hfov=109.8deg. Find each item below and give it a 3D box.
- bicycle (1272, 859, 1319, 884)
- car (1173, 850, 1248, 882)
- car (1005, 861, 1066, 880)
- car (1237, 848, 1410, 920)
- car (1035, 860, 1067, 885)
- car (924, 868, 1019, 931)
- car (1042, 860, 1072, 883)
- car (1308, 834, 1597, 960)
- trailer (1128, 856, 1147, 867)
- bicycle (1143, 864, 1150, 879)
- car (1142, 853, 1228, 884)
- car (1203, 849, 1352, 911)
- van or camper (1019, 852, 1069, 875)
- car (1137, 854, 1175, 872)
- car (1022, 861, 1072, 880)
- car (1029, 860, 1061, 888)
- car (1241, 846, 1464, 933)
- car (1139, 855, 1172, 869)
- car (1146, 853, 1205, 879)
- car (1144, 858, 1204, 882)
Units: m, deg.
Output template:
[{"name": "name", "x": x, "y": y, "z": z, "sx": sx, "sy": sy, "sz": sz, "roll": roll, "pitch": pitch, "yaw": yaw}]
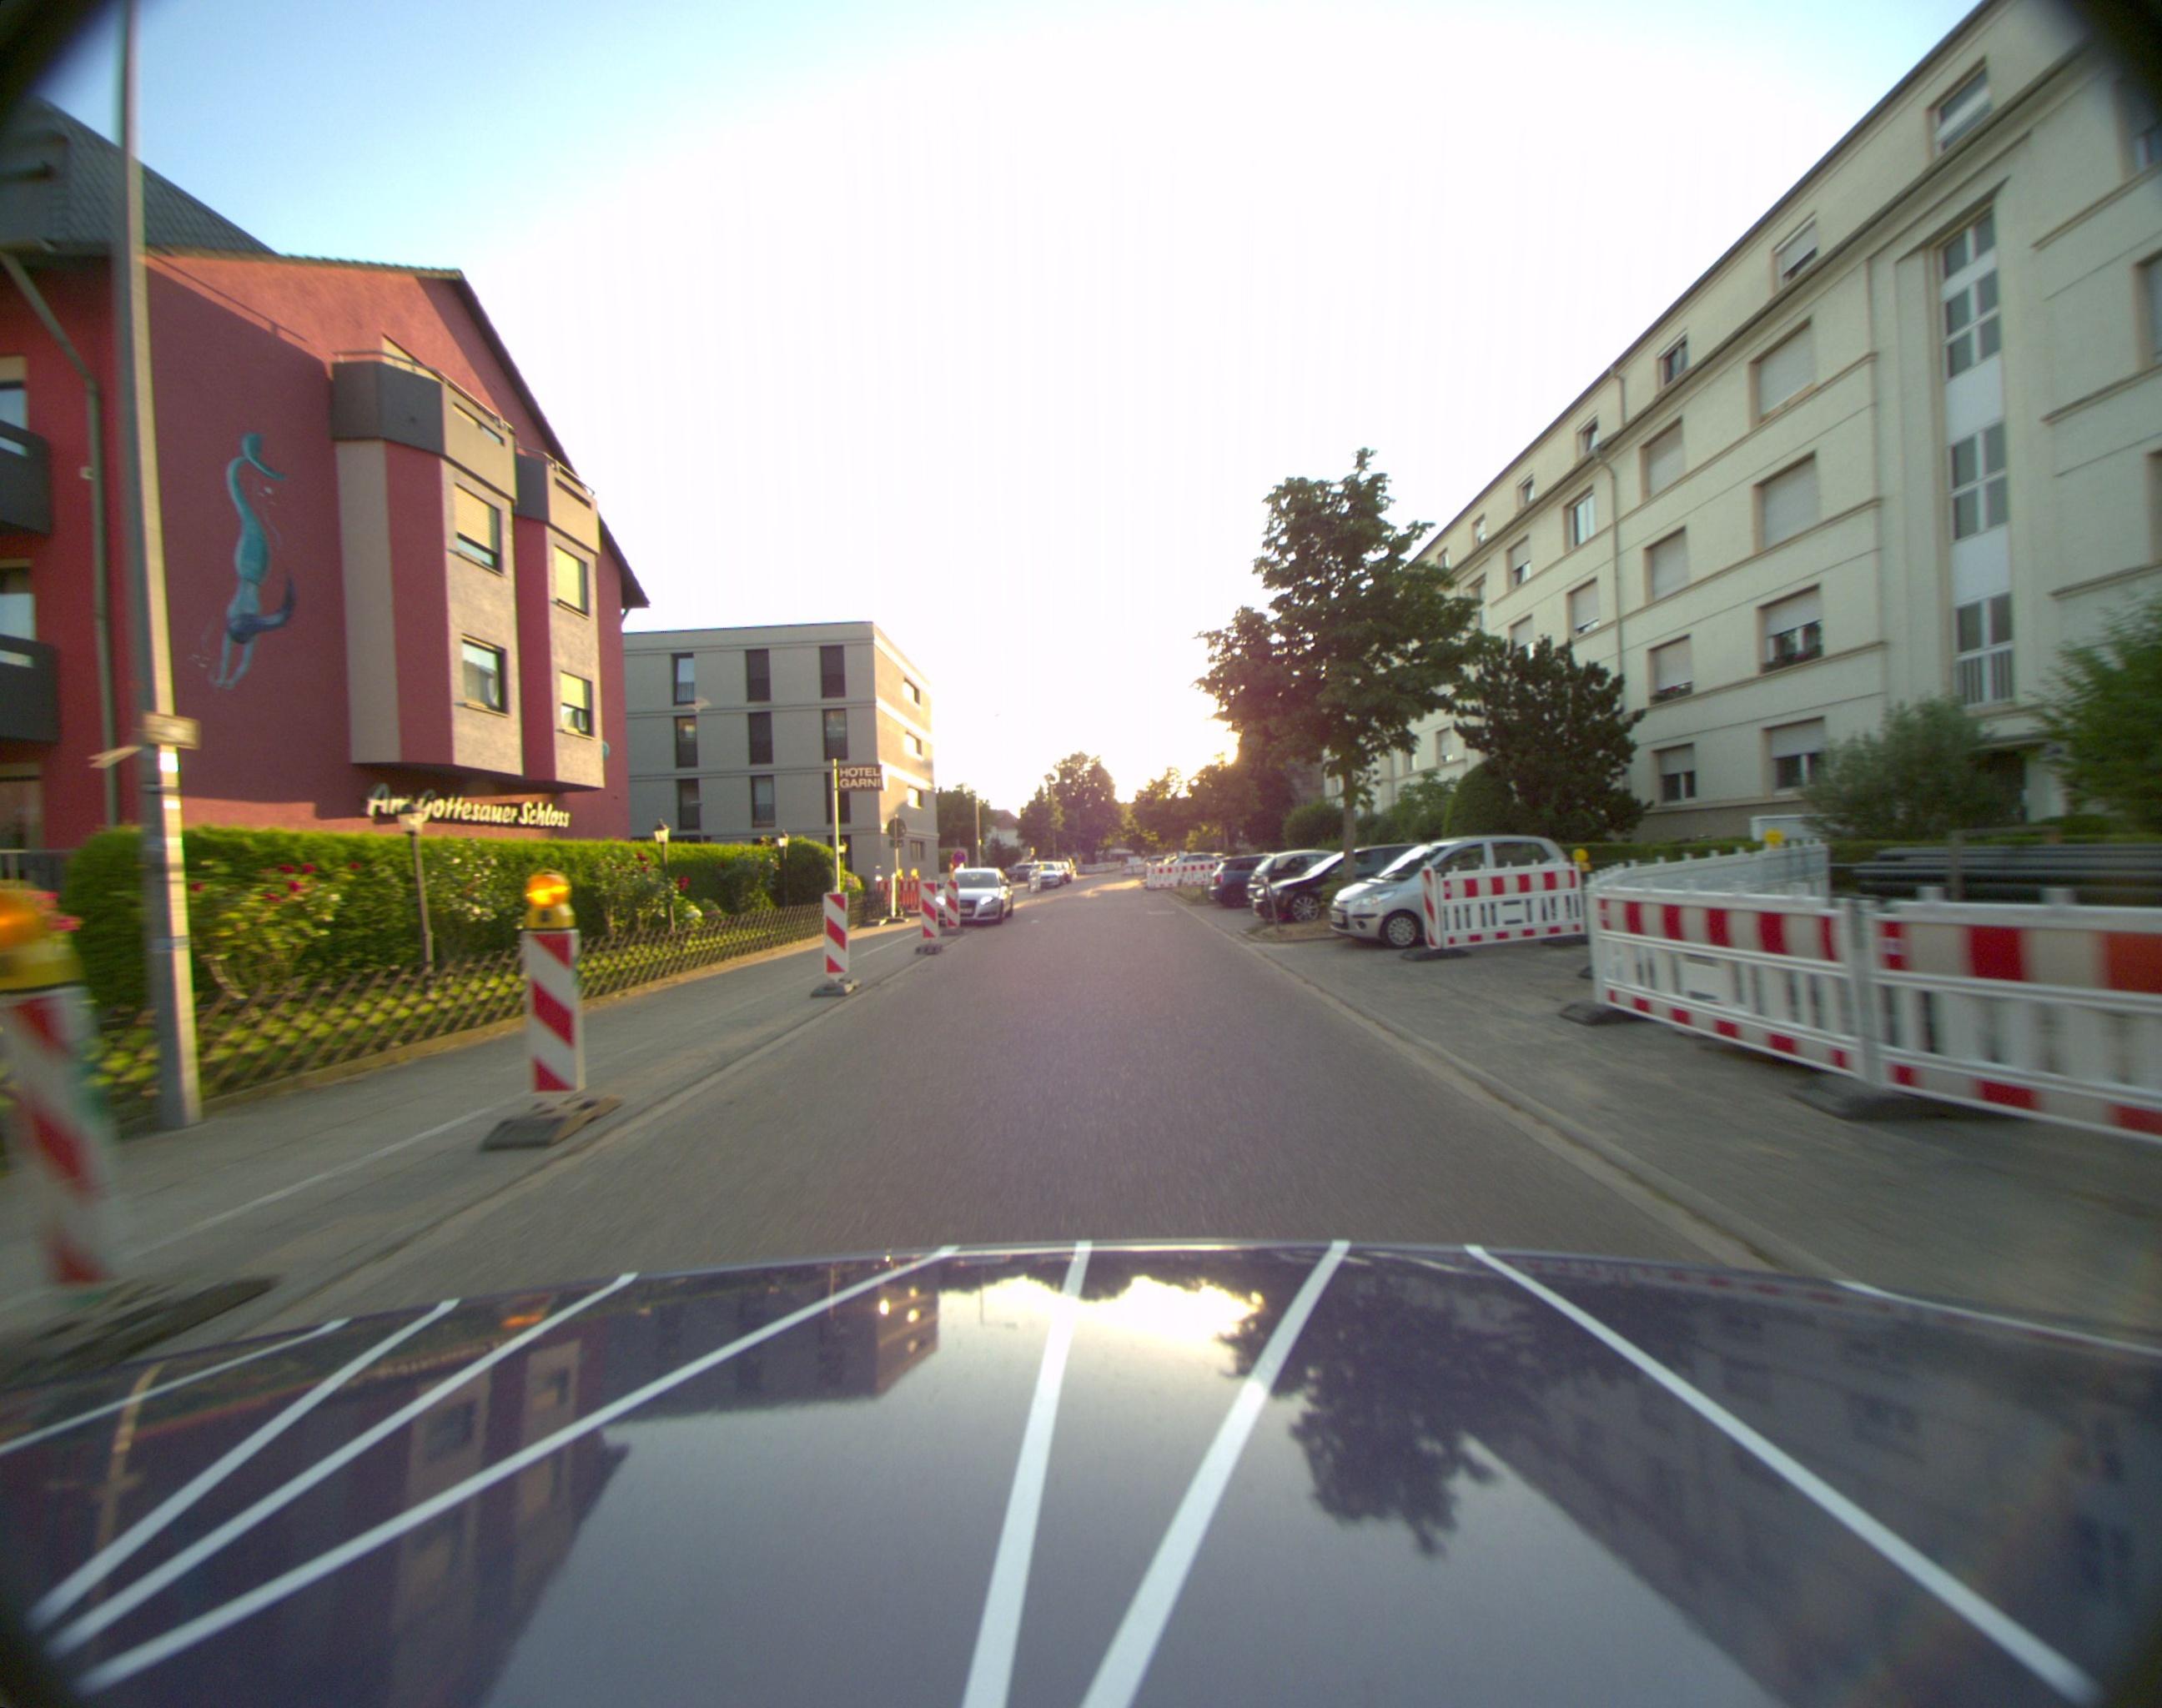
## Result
[{"name": "bicycle", "x": 9.584, "y": 0.794, "z": 33.950, "sx": 1.925, "sy": 0.986, "sz": 0.360, "roll": -3, "pitch": 0, "yaw": 3}, {"name": "car", "x": 6.977, "y": 0.650, "z": 41.197, "sx": 3.709, "sy": 1.475, "sz": 1.728, "roll": -4, "pitch": 0, "yaw": 0}, {"name": "car", "x": -3.717, "y": 1.362, "z": 62.227, "sx": 4.829, "sy": 1.389, "sz": 1.770, "roll": -1, "pitch": -1, "yaw": 2}, {"name": "car", "x": 5.890, "y": 0.703, "z": 18.787, "sx": 3.686, "sy": 1.475, "sz": 1.728, "roll": -4, "pitch": 1, "yaw": 2}, {"name": "car", "x": -1.861, "y": 1.153, "z": 48.583, "sx": 1.802, "sy": 1.461, "sz": 3.843, "roll": -2, "pitch": 0, "yaw": 0}, {"name": "car", "x": -2.776, "y": 1.127, "z": 20.170, "sx": 1.780, "sy": 1.388, "sz": 4.108, "roll": -2, "pitch": 0, "yaw": 1}, {"name": "car", "x": -1.644, "y": 1.228, "z": 53.345, "sx": 1.744, "sy": 1.461, "sz": 3.759, "roll": -2, "pitch": 0, "yaw": 3}, {"name": "car", "x": 5.507, "y": 0.593, "z": 11.547, "sx": 3.484, "sy": 1.557, "sz": 1.727, "roll": -4, "pitch": 1, "yaw": -3}, {"name": "trailer", "x": 12.076, "y": 1.545, "z": 162.117, "sx": 3.682, "sy": 2.056, "sz": 2.002, "roll": -3, "pitch": 0, "yaw": 15}, {"name": "bicycle", "x": 5.031, "y": 1.352, "z": 58.383, "sx": 0.448, "sy": 1.089, "sz": 1.629, "roll": -1, "pitch": 1, "yaw": 2}, {"name": "car", "x": 5.984, "y": 0.822, "z": 43.875, "sx": 4.521, "sy": 1.475, "sz": 1.727, "roll": -4, "pitch": 0, "yaw": -7}, {"name": "car", "x": 5.408, "y": 0.705, "z": 21.271, "sx": 3.686, "sy": 1.437, "sz": 1.728, "roll": -4, "pitch": 1, "yaw": 3}, {"name": "van or camper", "x": -3.474, "y": 0.863, "z": 72.047, "sx": 4.659, "sy": 1.942, "sz": 2.094, "roll": -3, "pitch": 0, "yaw": -1}, {"name": "car", "x": 9.791, "y": 1.148, "z": 99.479, "sx": 4.784, "sy": 2.057, "sz": 2.001, "roll": -2, "pitch": 0, "yaw": 6}, {"name": "car", "x": -2.913, "y": 1.436, "z": 65.246, "sx": 4.064, "sy": 1.492, "sz": 1.771, "roll": -1, "pitch": -1, "yaw": 5}, {"name": "car", "x": -1.996, "y": 1.082, "z": 43.173, "sx": 1.618, "sy": 1.461, "sz": 3.997, "roll": -2, "pitch": 0, "yaw": 0}, {"name": "car", "x": 5.512, "y": 0.703, "z": 15.803, "sx": 3.986, "sy": 1.480, "sz": 1.728, "roll": -3, "pitch": 1, "yaw": 4}, {"name": "car", "x": 9.508, "y": 1.017, "z": 96.785, "sx": 4.129, "sy": 1.673, "sz": 2.001, "roll": -2, "pitch": 0, "yaw": 6}, {"name": "car", "x": 6.648, "y": 0.842, "z": 53.650, "sx": 3.996, "sy": 1.533, "sz": 1.729, "roll": -4, "pitch": 0, "yaw": 4}, {"name": "car", "x": 6.279, "y": 1.092, "z": 51.709, "sx": 3.851, "sy": 1.376, "sz": 1.607, "roll": -4, "pitch": 0, "yaw": 2}]
